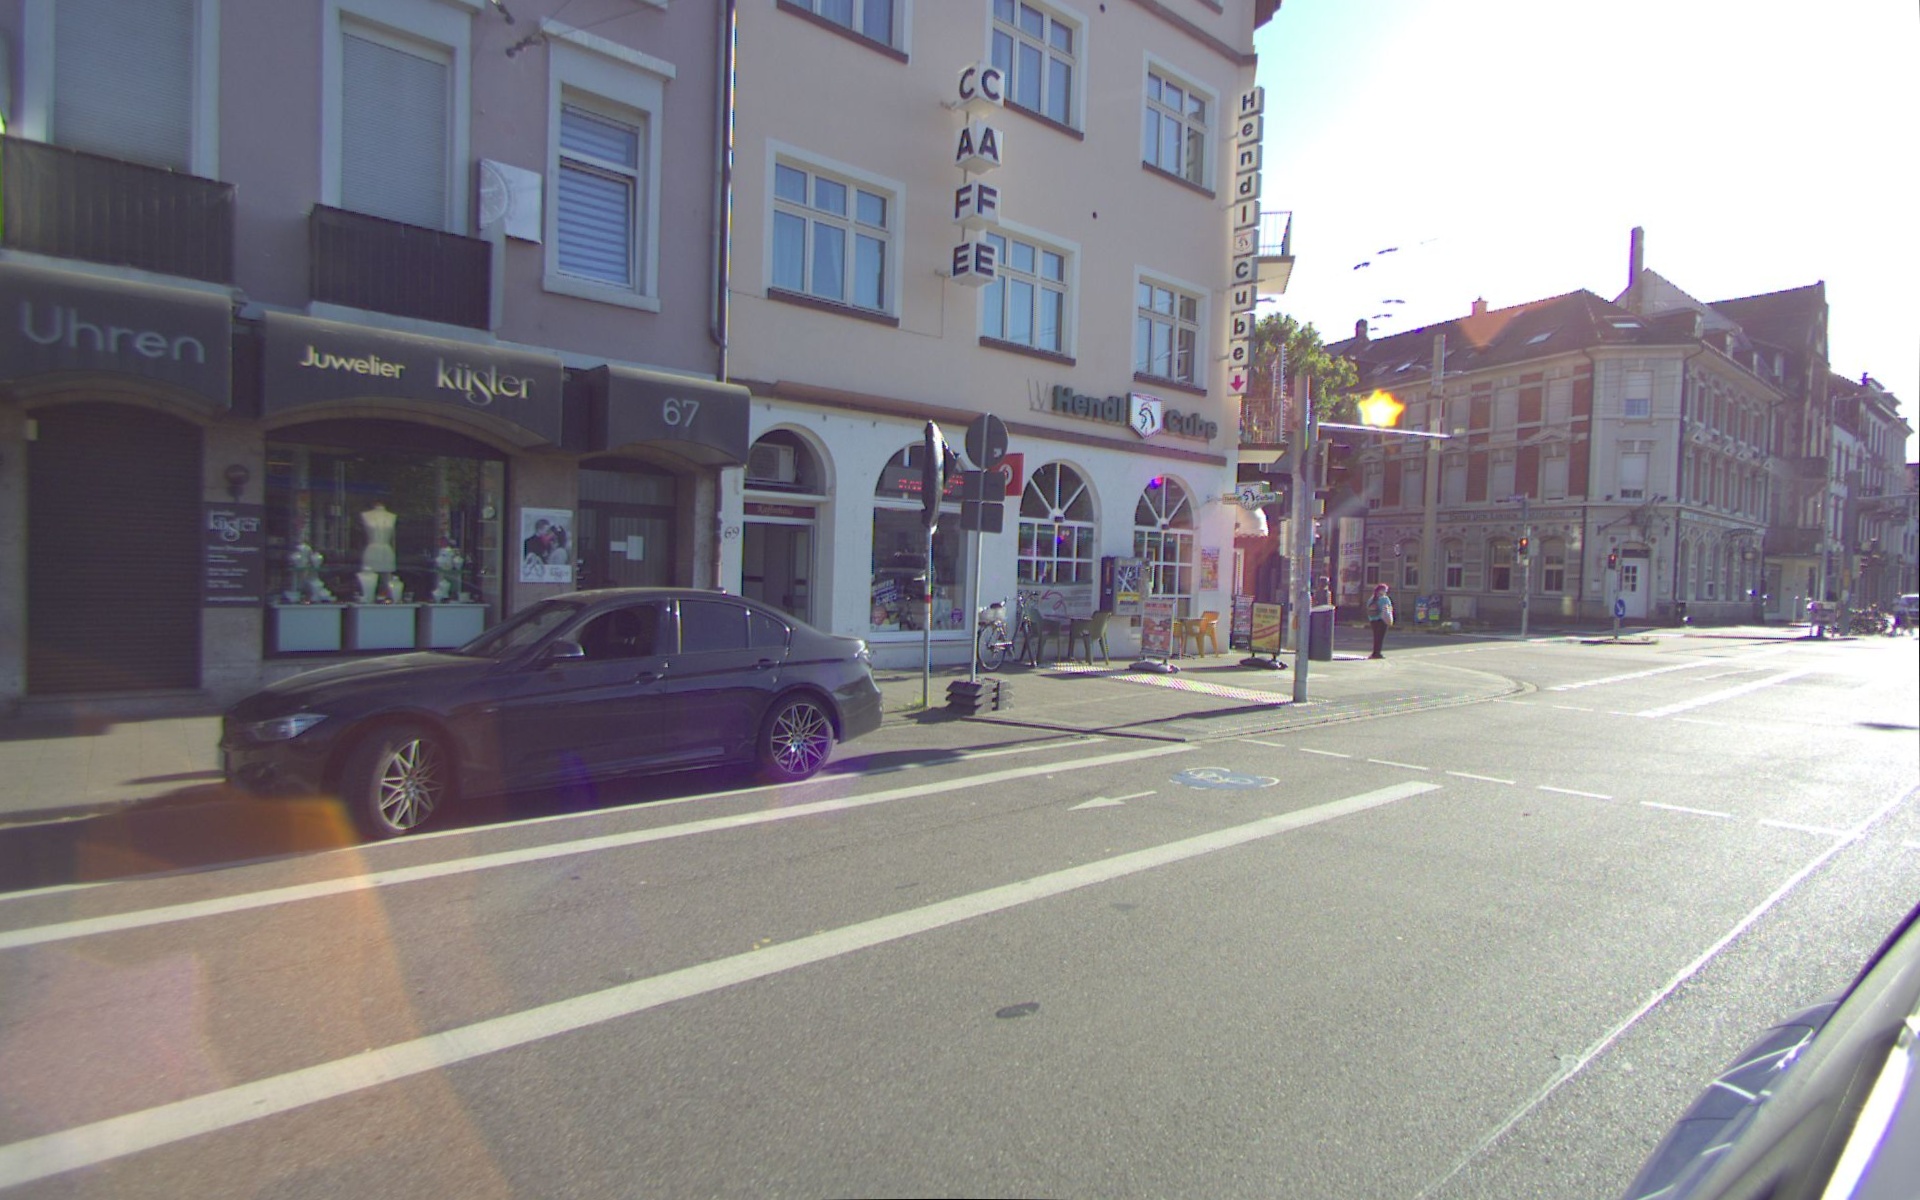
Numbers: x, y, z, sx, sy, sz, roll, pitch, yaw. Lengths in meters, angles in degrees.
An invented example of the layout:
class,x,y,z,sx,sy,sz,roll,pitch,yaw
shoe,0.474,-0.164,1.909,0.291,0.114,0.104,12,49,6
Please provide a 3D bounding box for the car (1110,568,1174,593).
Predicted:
class,x,y,z,sx,sy,sz,roll,pitch,yaw
car,11.631,-1.267,64.907,1.958,1.510,4.282,1,2,-24

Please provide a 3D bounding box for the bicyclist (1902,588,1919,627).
class,x,y,z,sx,sy,sz,roll,pitch,yaw
bicyclist,40.497,0.311,42.856,0.731,1.625,0.697,0,2,-36

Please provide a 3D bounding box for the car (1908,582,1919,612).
class,x,y,z,sx,sy,sz,roll,pitch,yaw
car,59.116,-0.148,60.776,4.506,1.748,2.298,0,2,-35

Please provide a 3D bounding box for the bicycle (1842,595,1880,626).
class,x,y,z,sx,sy,sz,roll,pitch,yaw
bicycle,38.012,0.434,42.682,2.255,1.230,0.694,0,2,-36

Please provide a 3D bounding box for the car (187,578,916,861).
class,x,y,z,sx,sy,sz,roll,pitch,yaw
car,-2.702,0.584,7.453,4.636,1.447,1.902,0,1,-42

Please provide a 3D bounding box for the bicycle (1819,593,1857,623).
class,x,y,z,sx,sy,sz,roll,pitch,yaw
bicycle,37.514,0.346,43.214,2.255,1.230,0.694,0,2,-36

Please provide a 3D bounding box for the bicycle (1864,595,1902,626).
class,x,y,z,sx,sy,sz,roll,pitch,yaw
bicycle,38.361,0.433,42.047,2.255,1.230,0.694,0,2,-36

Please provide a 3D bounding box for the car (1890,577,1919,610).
class,x,y,z,sx,sy,sz,roll,pitch,yaw
car,54.367,-0.351,56.932,4.510,1.748,2.296,0,2,-38

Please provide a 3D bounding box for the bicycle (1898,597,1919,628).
class,x,y,z,sx,sy,sz,roll,pitch,yaw
bicycle,40.544,0.521,42.905,2.255,1.230,0.694,0,2,-36

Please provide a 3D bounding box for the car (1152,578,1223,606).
class,x,y,z,sx,sy,sz,roll,pitch,yaw
car,13.545,-0.526,60.459,1.958,1.510,4.282,1,2,-23

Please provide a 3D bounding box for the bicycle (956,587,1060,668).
class,x,y,z,sx,sy,sz,roll,pitch,yaw
bicycle,0.759,0.380,15.375,0.693,1.122,1.842,2,2,35

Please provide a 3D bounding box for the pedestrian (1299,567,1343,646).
class,x,y,z,sx,sy,sz,roll,pitch,yaw
pedestrian,8.088,0.134,22.681,0.665,1.711,0.663,0,2,-41

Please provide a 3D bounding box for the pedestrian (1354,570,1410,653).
class,x,y,z,sx,sy,sz,roll,pitch,yaw
pedestrian,8.893,0.243,21.327,0.786,1.711,0.775,3,-1,-41
